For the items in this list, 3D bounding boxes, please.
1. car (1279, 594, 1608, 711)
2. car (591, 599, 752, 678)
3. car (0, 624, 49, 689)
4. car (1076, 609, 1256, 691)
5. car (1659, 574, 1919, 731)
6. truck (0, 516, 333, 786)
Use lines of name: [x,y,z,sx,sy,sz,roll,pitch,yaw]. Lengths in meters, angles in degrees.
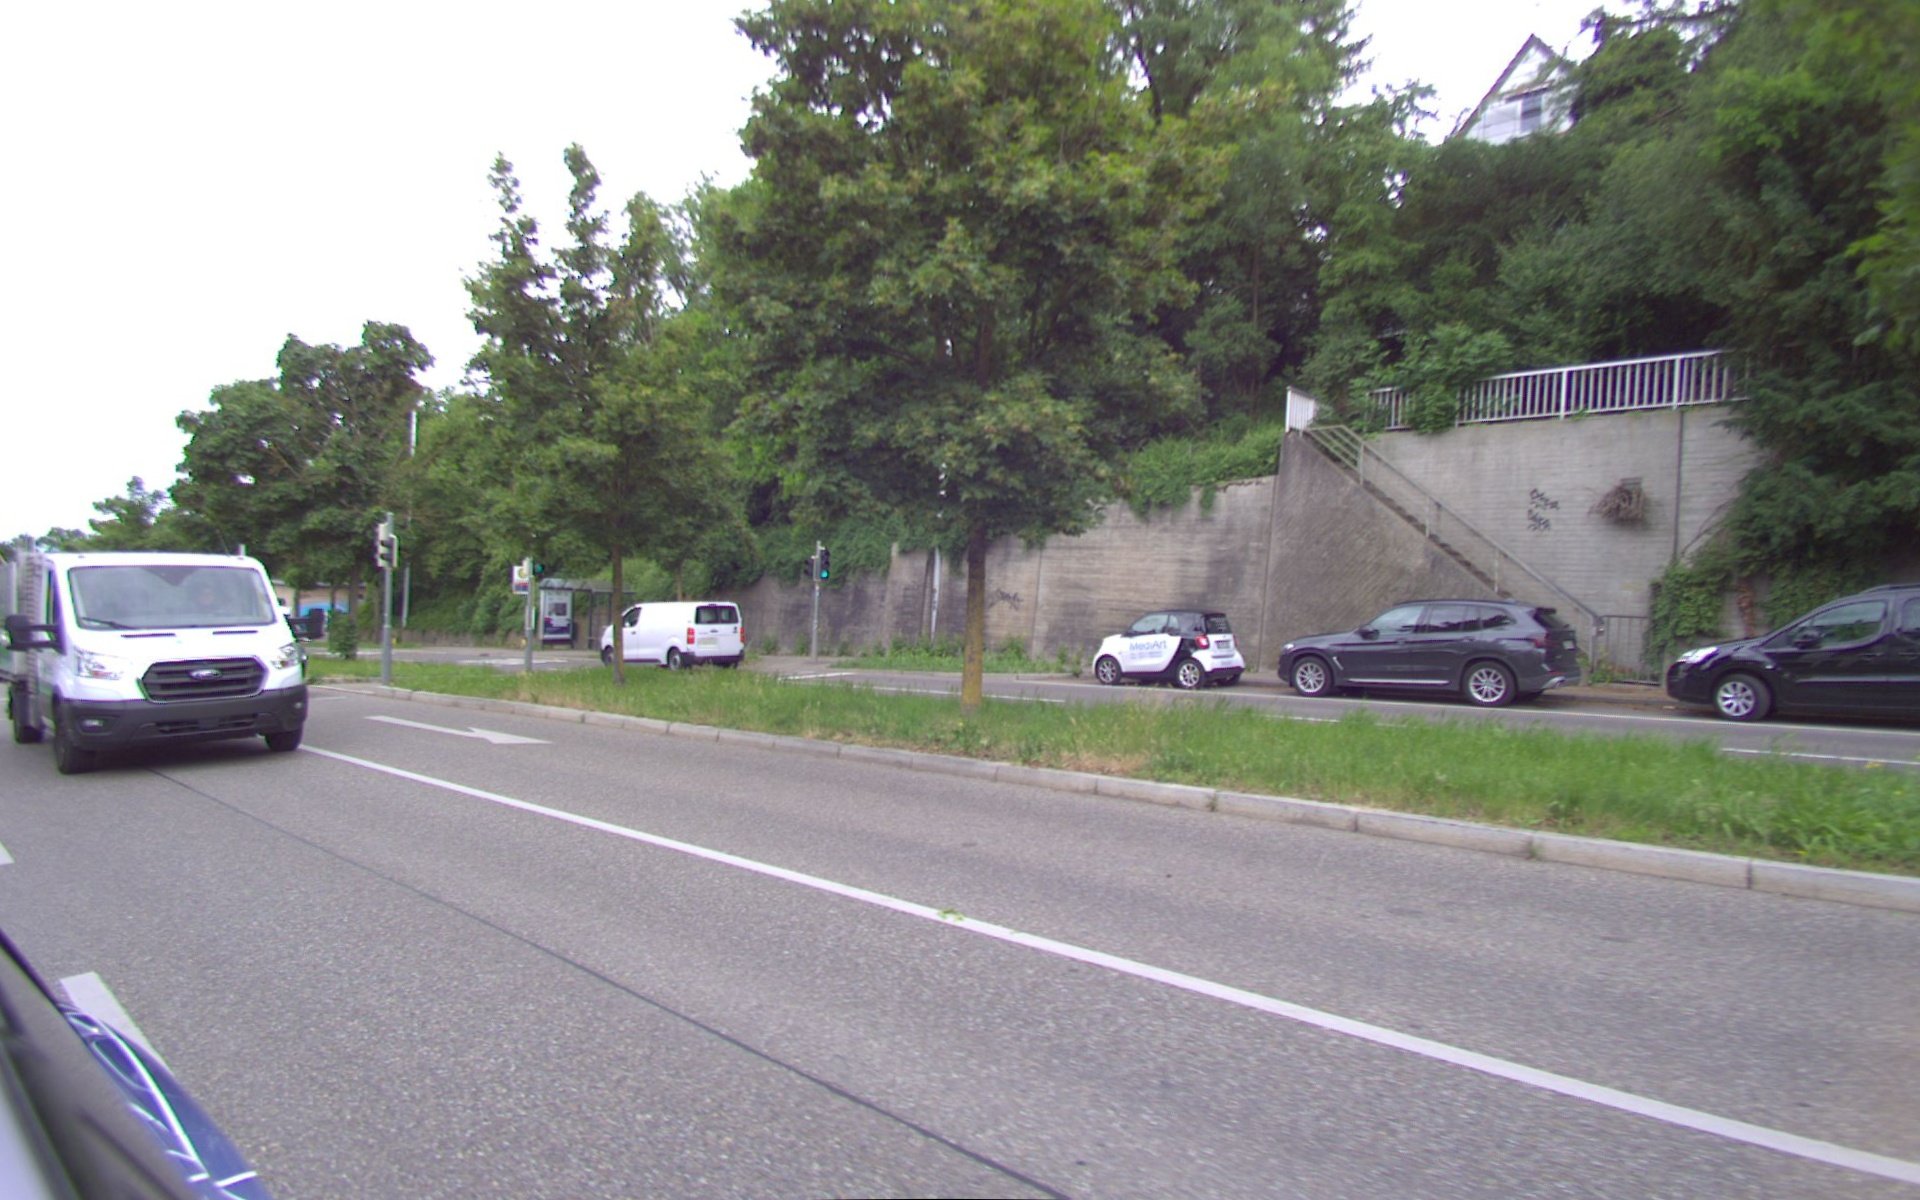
car: [7.891,0.778,16.835,1.946,1.669,4.536,-1,0,-44]
car: [-7.985,1.021,27.764,5.021,1.972,1.917,-1,-1,43]
car: [-24.302,1.398,25.286,4.400,1.492,1.890,-2,-1,43]
car: [4.144,0.979,20.521,3.096,1.510,1.761,-2,-1,41]
car: [11.741,0.621,12.802,1.759,1.857,4.490,-1,-1,-45]
truck: [-9.490,0.481,11.615,6.327,2.339,2.054,-1,-1,40]
